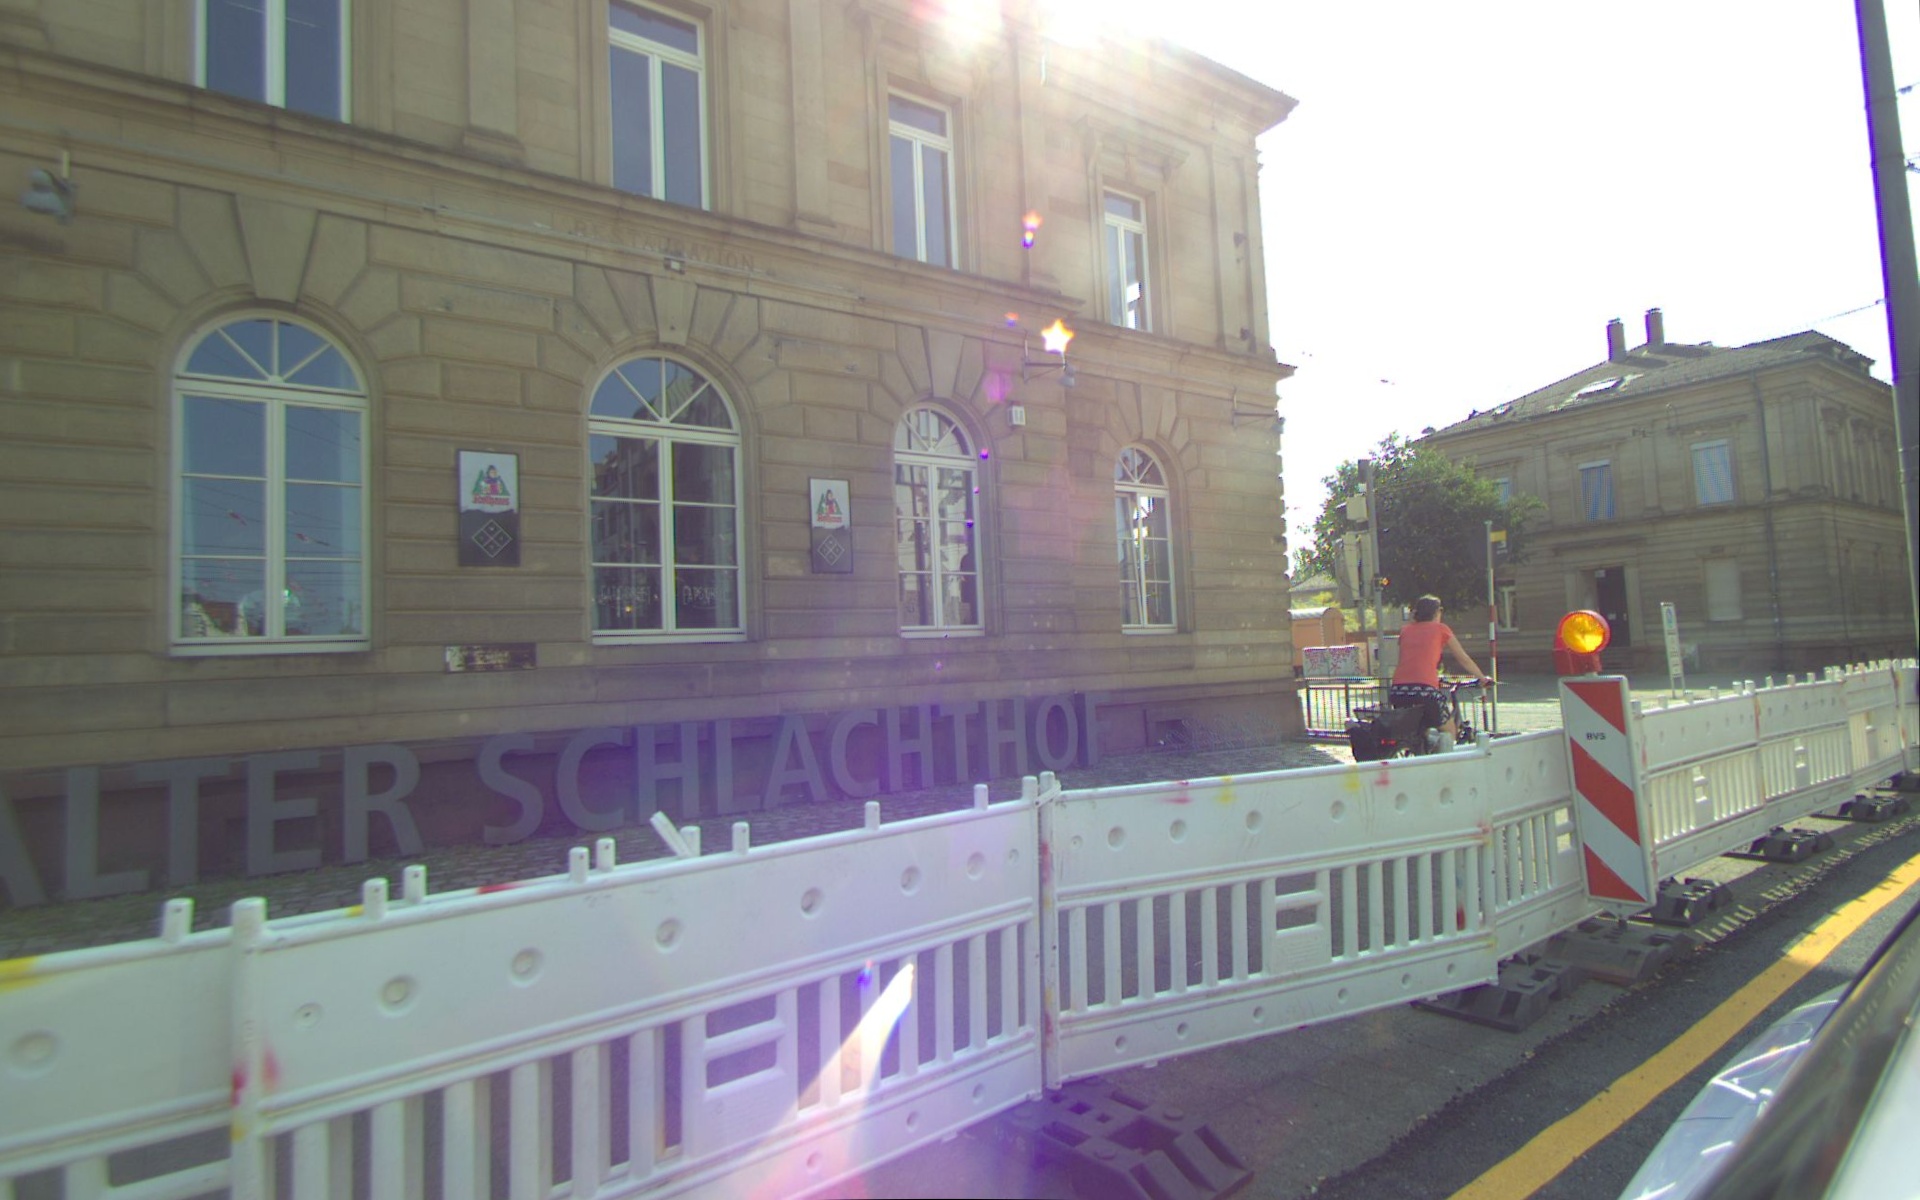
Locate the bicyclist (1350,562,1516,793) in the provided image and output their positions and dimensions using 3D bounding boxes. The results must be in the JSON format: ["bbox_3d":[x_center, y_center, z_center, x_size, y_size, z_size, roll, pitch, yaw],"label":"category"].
[{"bbox_3d":[3.617,0.569,7.759,0.837,1.647,0.736,0,-4,-35],"label":"bicyclist"}]

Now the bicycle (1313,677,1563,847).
[{"bbox_3d":[3.701,1.164,7.761,2.092,1.046,0.743,0,-4,-35],"label":"bicycle"}]
